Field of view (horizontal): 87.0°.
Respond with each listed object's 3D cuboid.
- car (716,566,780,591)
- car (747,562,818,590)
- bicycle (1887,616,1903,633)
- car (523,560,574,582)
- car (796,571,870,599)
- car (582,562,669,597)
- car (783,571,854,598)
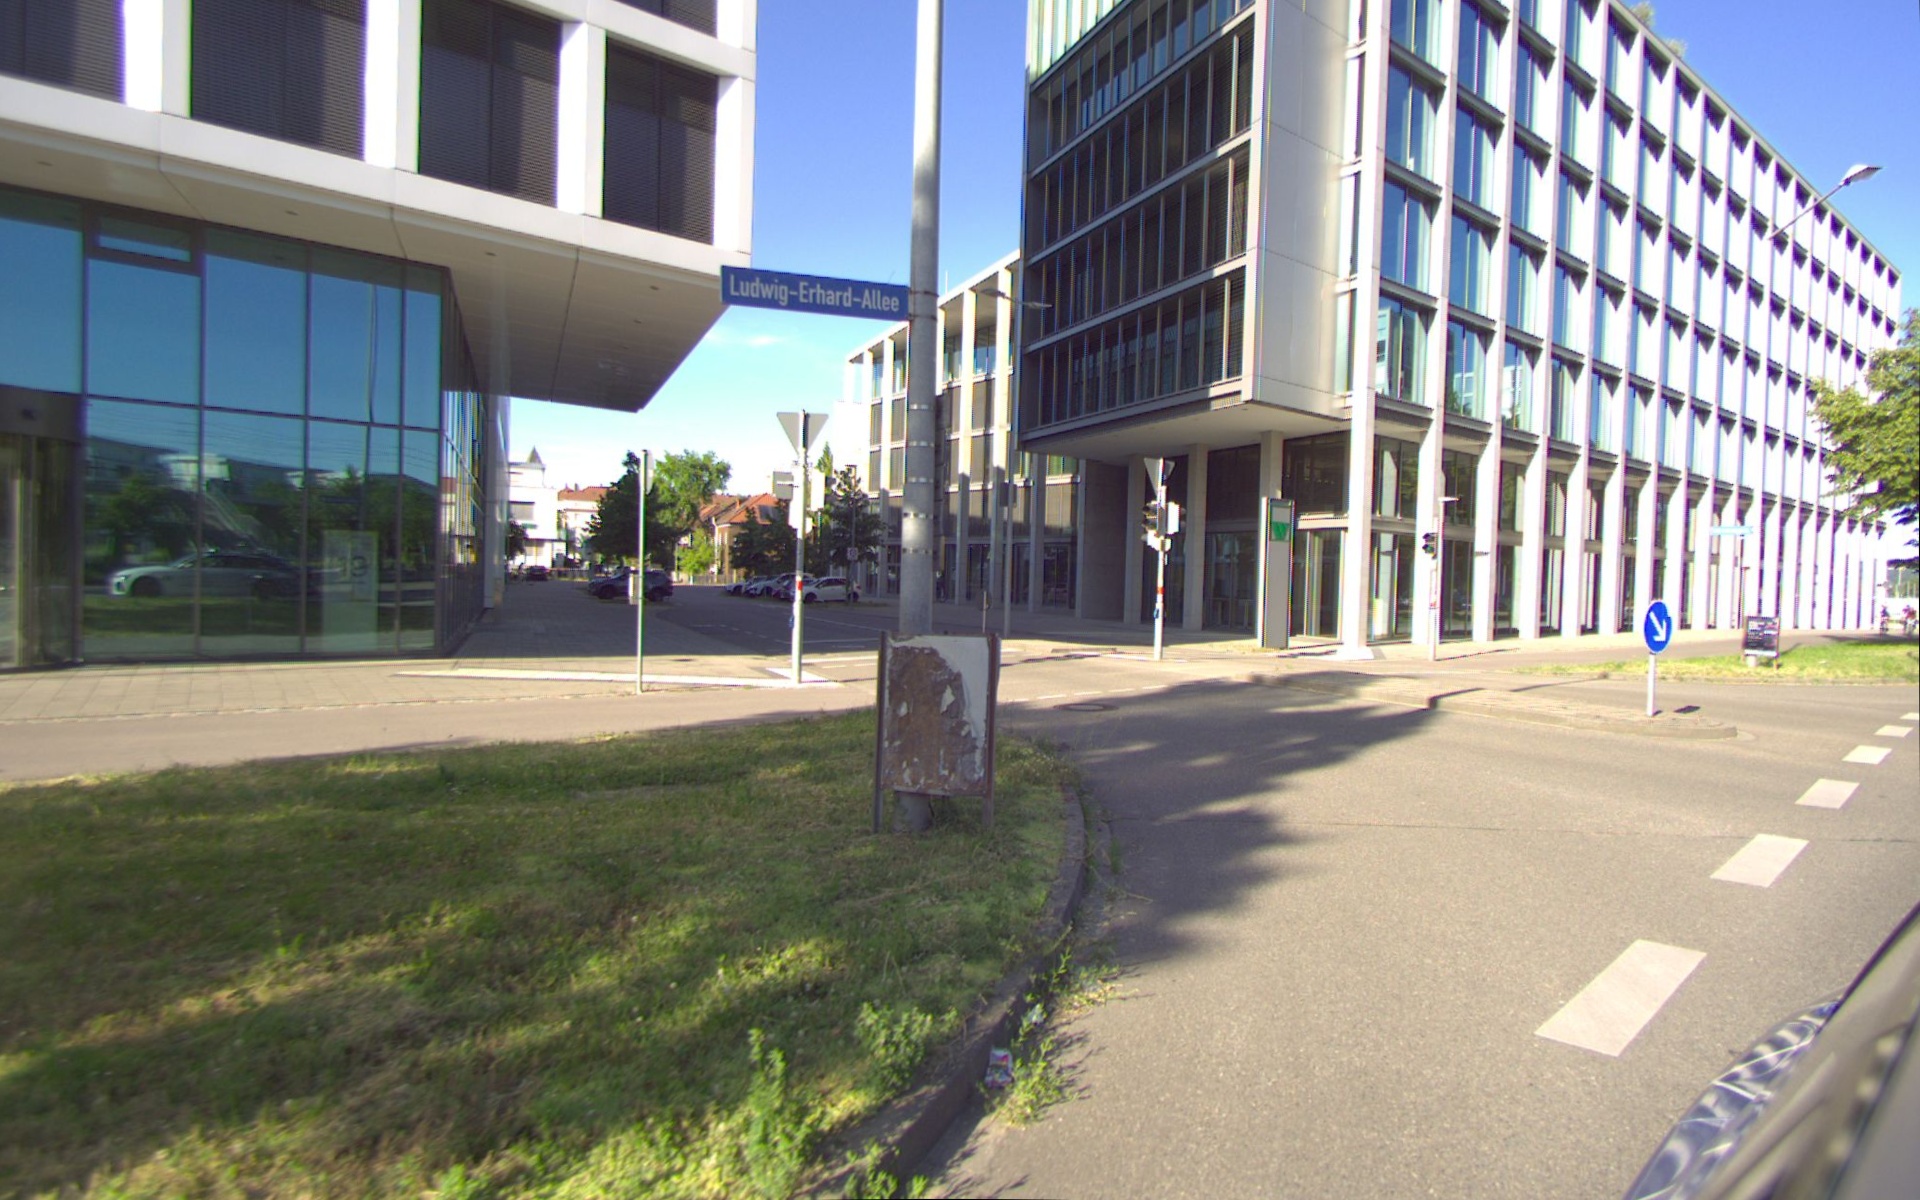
[{"bbox_3d":[-15.580,-1.600,74.358,4.365,1.749,1.797,1,1,-23],"label":"car"},{"bbox_3d":[-11.797,-1.592,67.308,4.365,1.749,1.797,1,1,-23],"label":"car"},{"bbox_3d":[50.602,1.319,54.774,1.295,0.828,0.415,0,1,-37],"label":"bicycle"},{"bbox_3d":[-35.513,-2.503,87.387,4.043,1.816,1.873,1,1,-23],"label":"car"},{"bbox_3d":[-7.348,-0.894,58.564,3.917,1.523,1.663,1,1,-25],"label":"car"},{"bbox_3d":[-17.848,-1.082,54.050,4.206,1.734,1.663,1,1,-25],"label":"car"},{"bbox_3d":[-8.526,-0.912,61.002,3.917,1.523,1.663,1,1,-25],"label":"car"}]
